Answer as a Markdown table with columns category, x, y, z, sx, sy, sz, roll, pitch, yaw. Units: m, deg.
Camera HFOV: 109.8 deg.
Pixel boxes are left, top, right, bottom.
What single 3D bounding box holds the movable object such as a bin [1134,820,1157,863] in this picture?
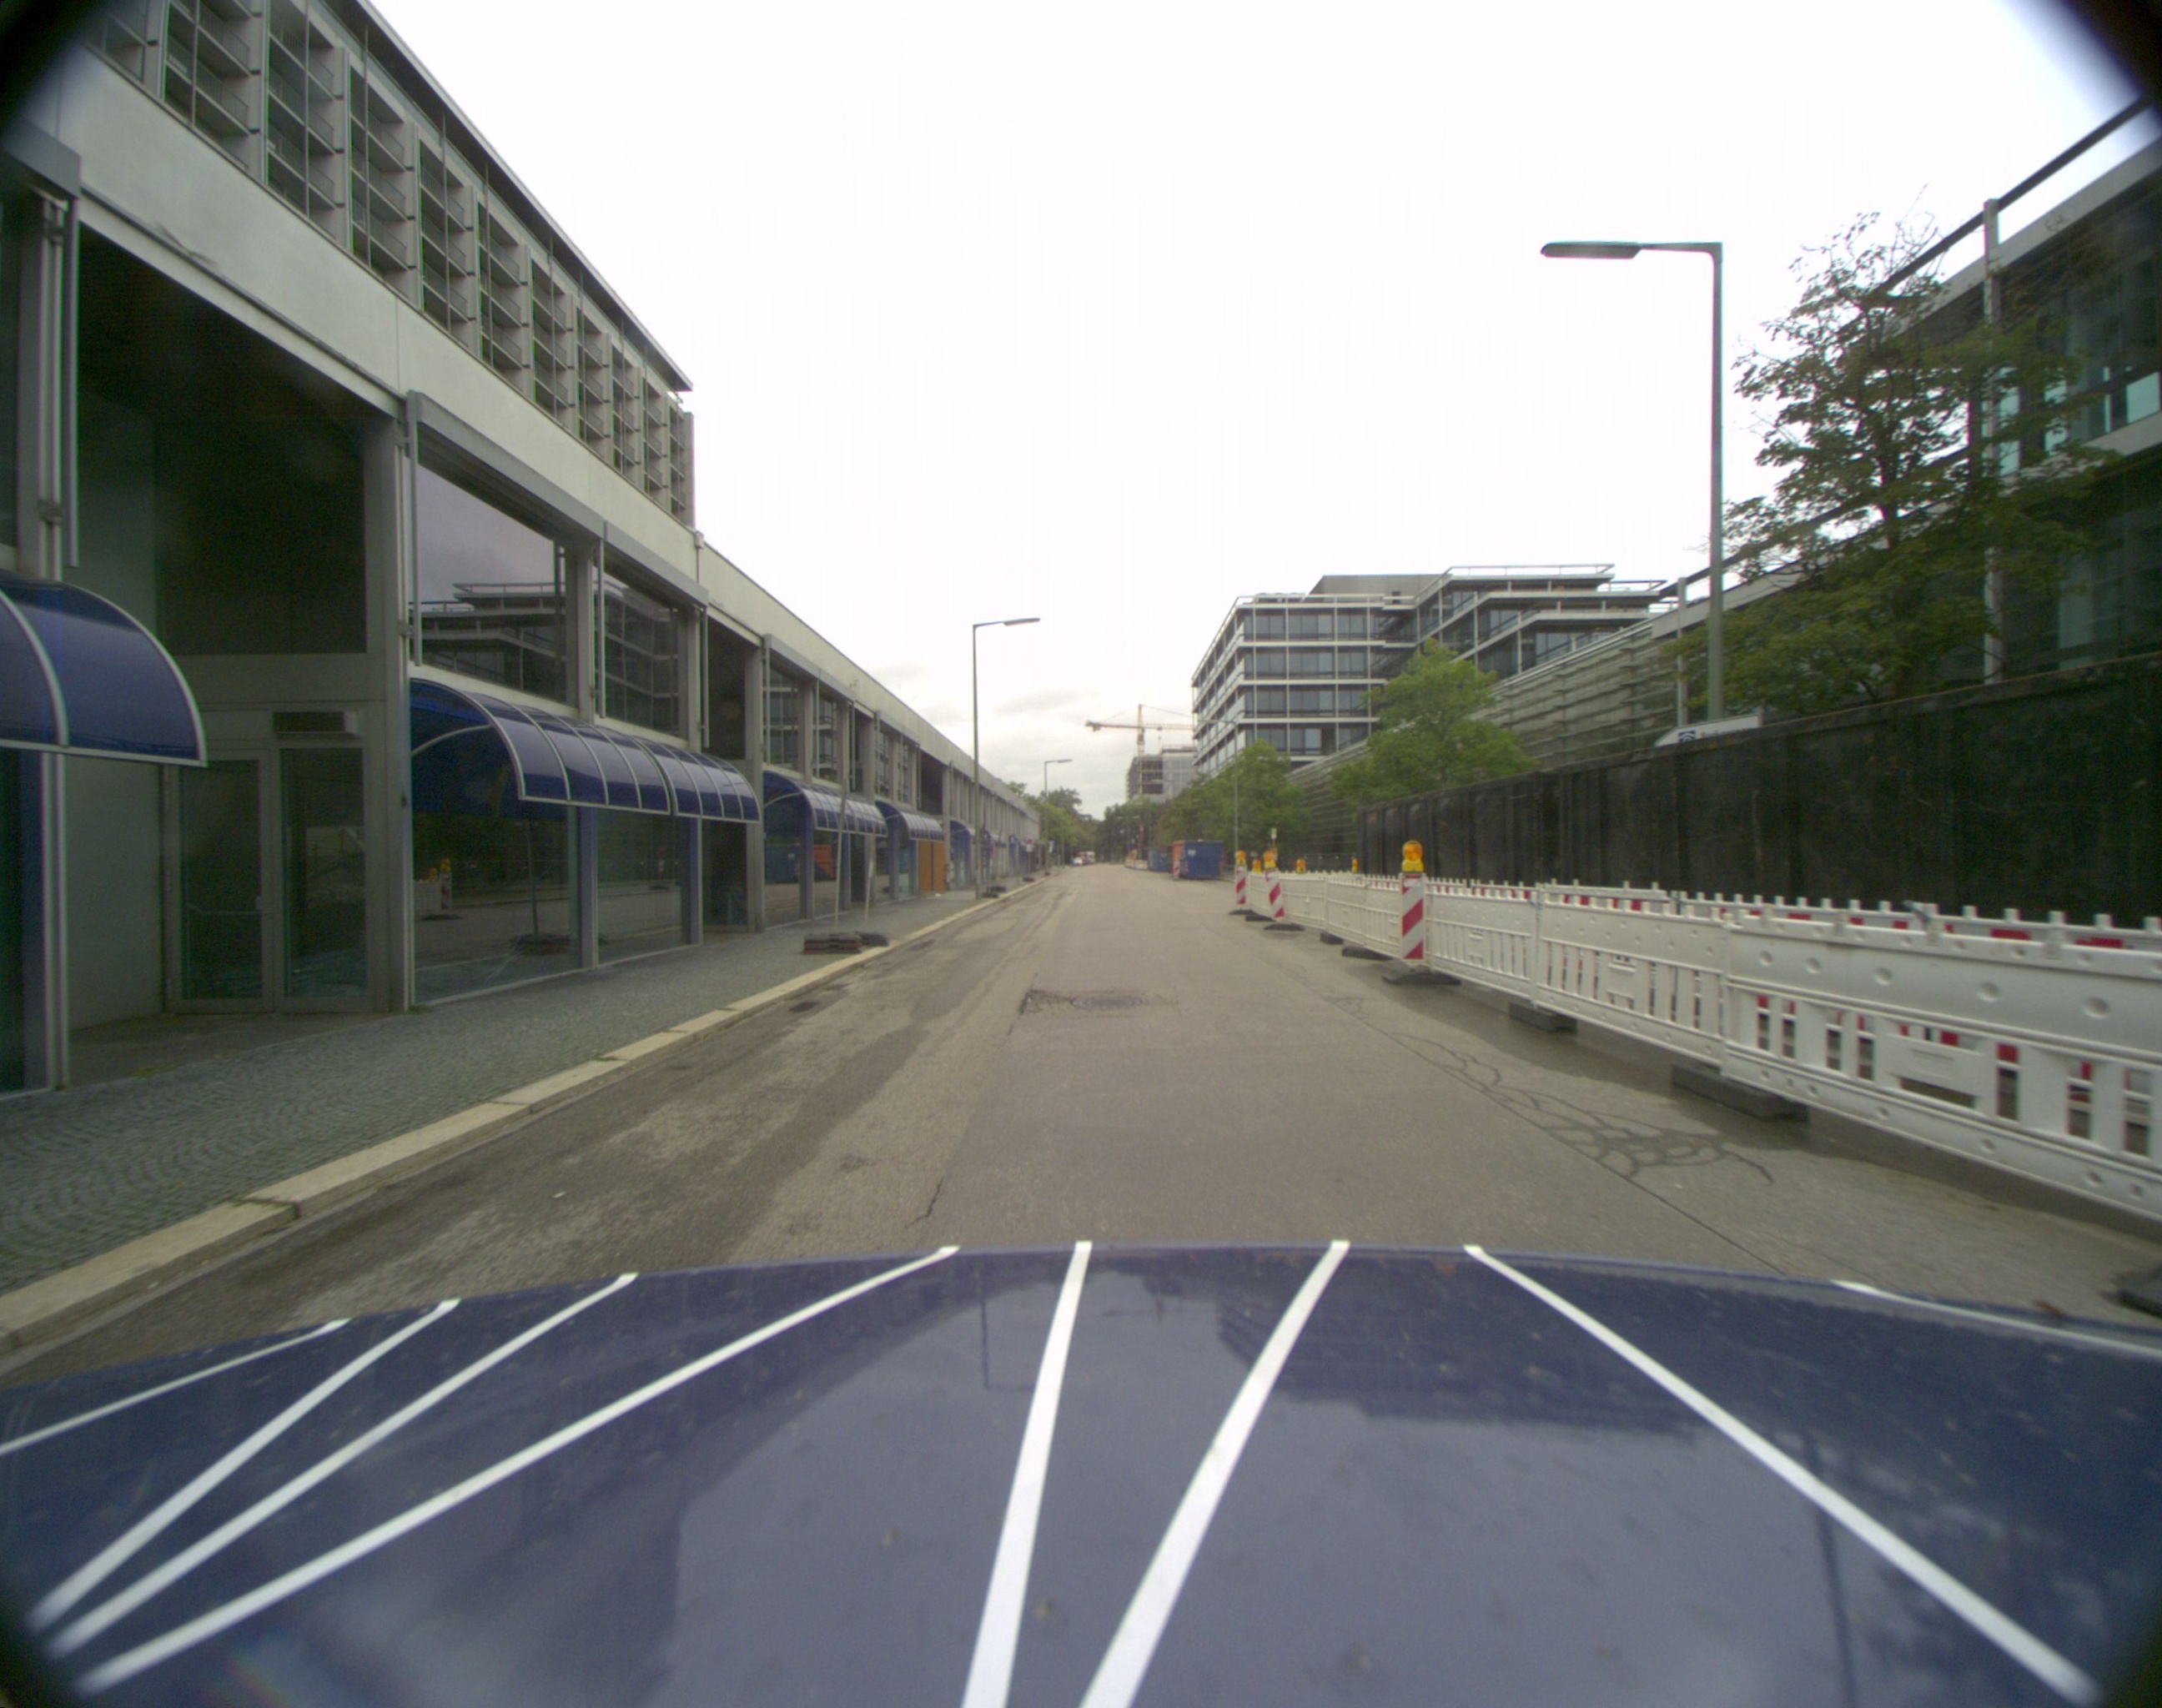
| category | x | y | z | sx | sy | sz | roll | pitch | yaw |
| --- | --- | --- | --- | --- | --- | --- | --- | --- | --- |
| movable object such as a bin | 9.754 | -1.809 | 115.968 | 3.241 | 6.285 | 8.338 | -1 | 0 | 3 |

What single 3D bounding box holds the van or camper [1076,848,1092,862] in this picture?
| category | x | y | z | sx | sy | sz | roll | pitch | yaw |
| --- | --- | --- | --- | --- | --- | --- | --- | --- | --- |
| van or camper | 0.573 | 0.200 | 148.418 | 2.666 | 2.751 | 6.917 | -1 | 0 | 4 |

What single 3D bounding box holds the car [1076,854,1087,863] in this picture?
| category | x | y | z | sx | sy | sz | roll | pitch | yaw |
| --- | --- | --- | --- | --- | --- | --- | --- | --- | --- |
| car | 0.059 | 0.788 | 142.154 | 1.912 | 1.627 | 4.001 | -1 | 0 | 3 |

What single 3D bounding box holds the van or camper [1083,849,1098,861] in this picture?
| category | x | y | z | sx | sy | sz | roll | pitch | yaw |
| --- | --- | --- | --- | --- | --- | --- | --- | --- | --- |
| van or camper | 2.074 | 0.269 | 162.697 | 2.665 | 2.436 | 6.448 | -1 | 0 | 7 |
